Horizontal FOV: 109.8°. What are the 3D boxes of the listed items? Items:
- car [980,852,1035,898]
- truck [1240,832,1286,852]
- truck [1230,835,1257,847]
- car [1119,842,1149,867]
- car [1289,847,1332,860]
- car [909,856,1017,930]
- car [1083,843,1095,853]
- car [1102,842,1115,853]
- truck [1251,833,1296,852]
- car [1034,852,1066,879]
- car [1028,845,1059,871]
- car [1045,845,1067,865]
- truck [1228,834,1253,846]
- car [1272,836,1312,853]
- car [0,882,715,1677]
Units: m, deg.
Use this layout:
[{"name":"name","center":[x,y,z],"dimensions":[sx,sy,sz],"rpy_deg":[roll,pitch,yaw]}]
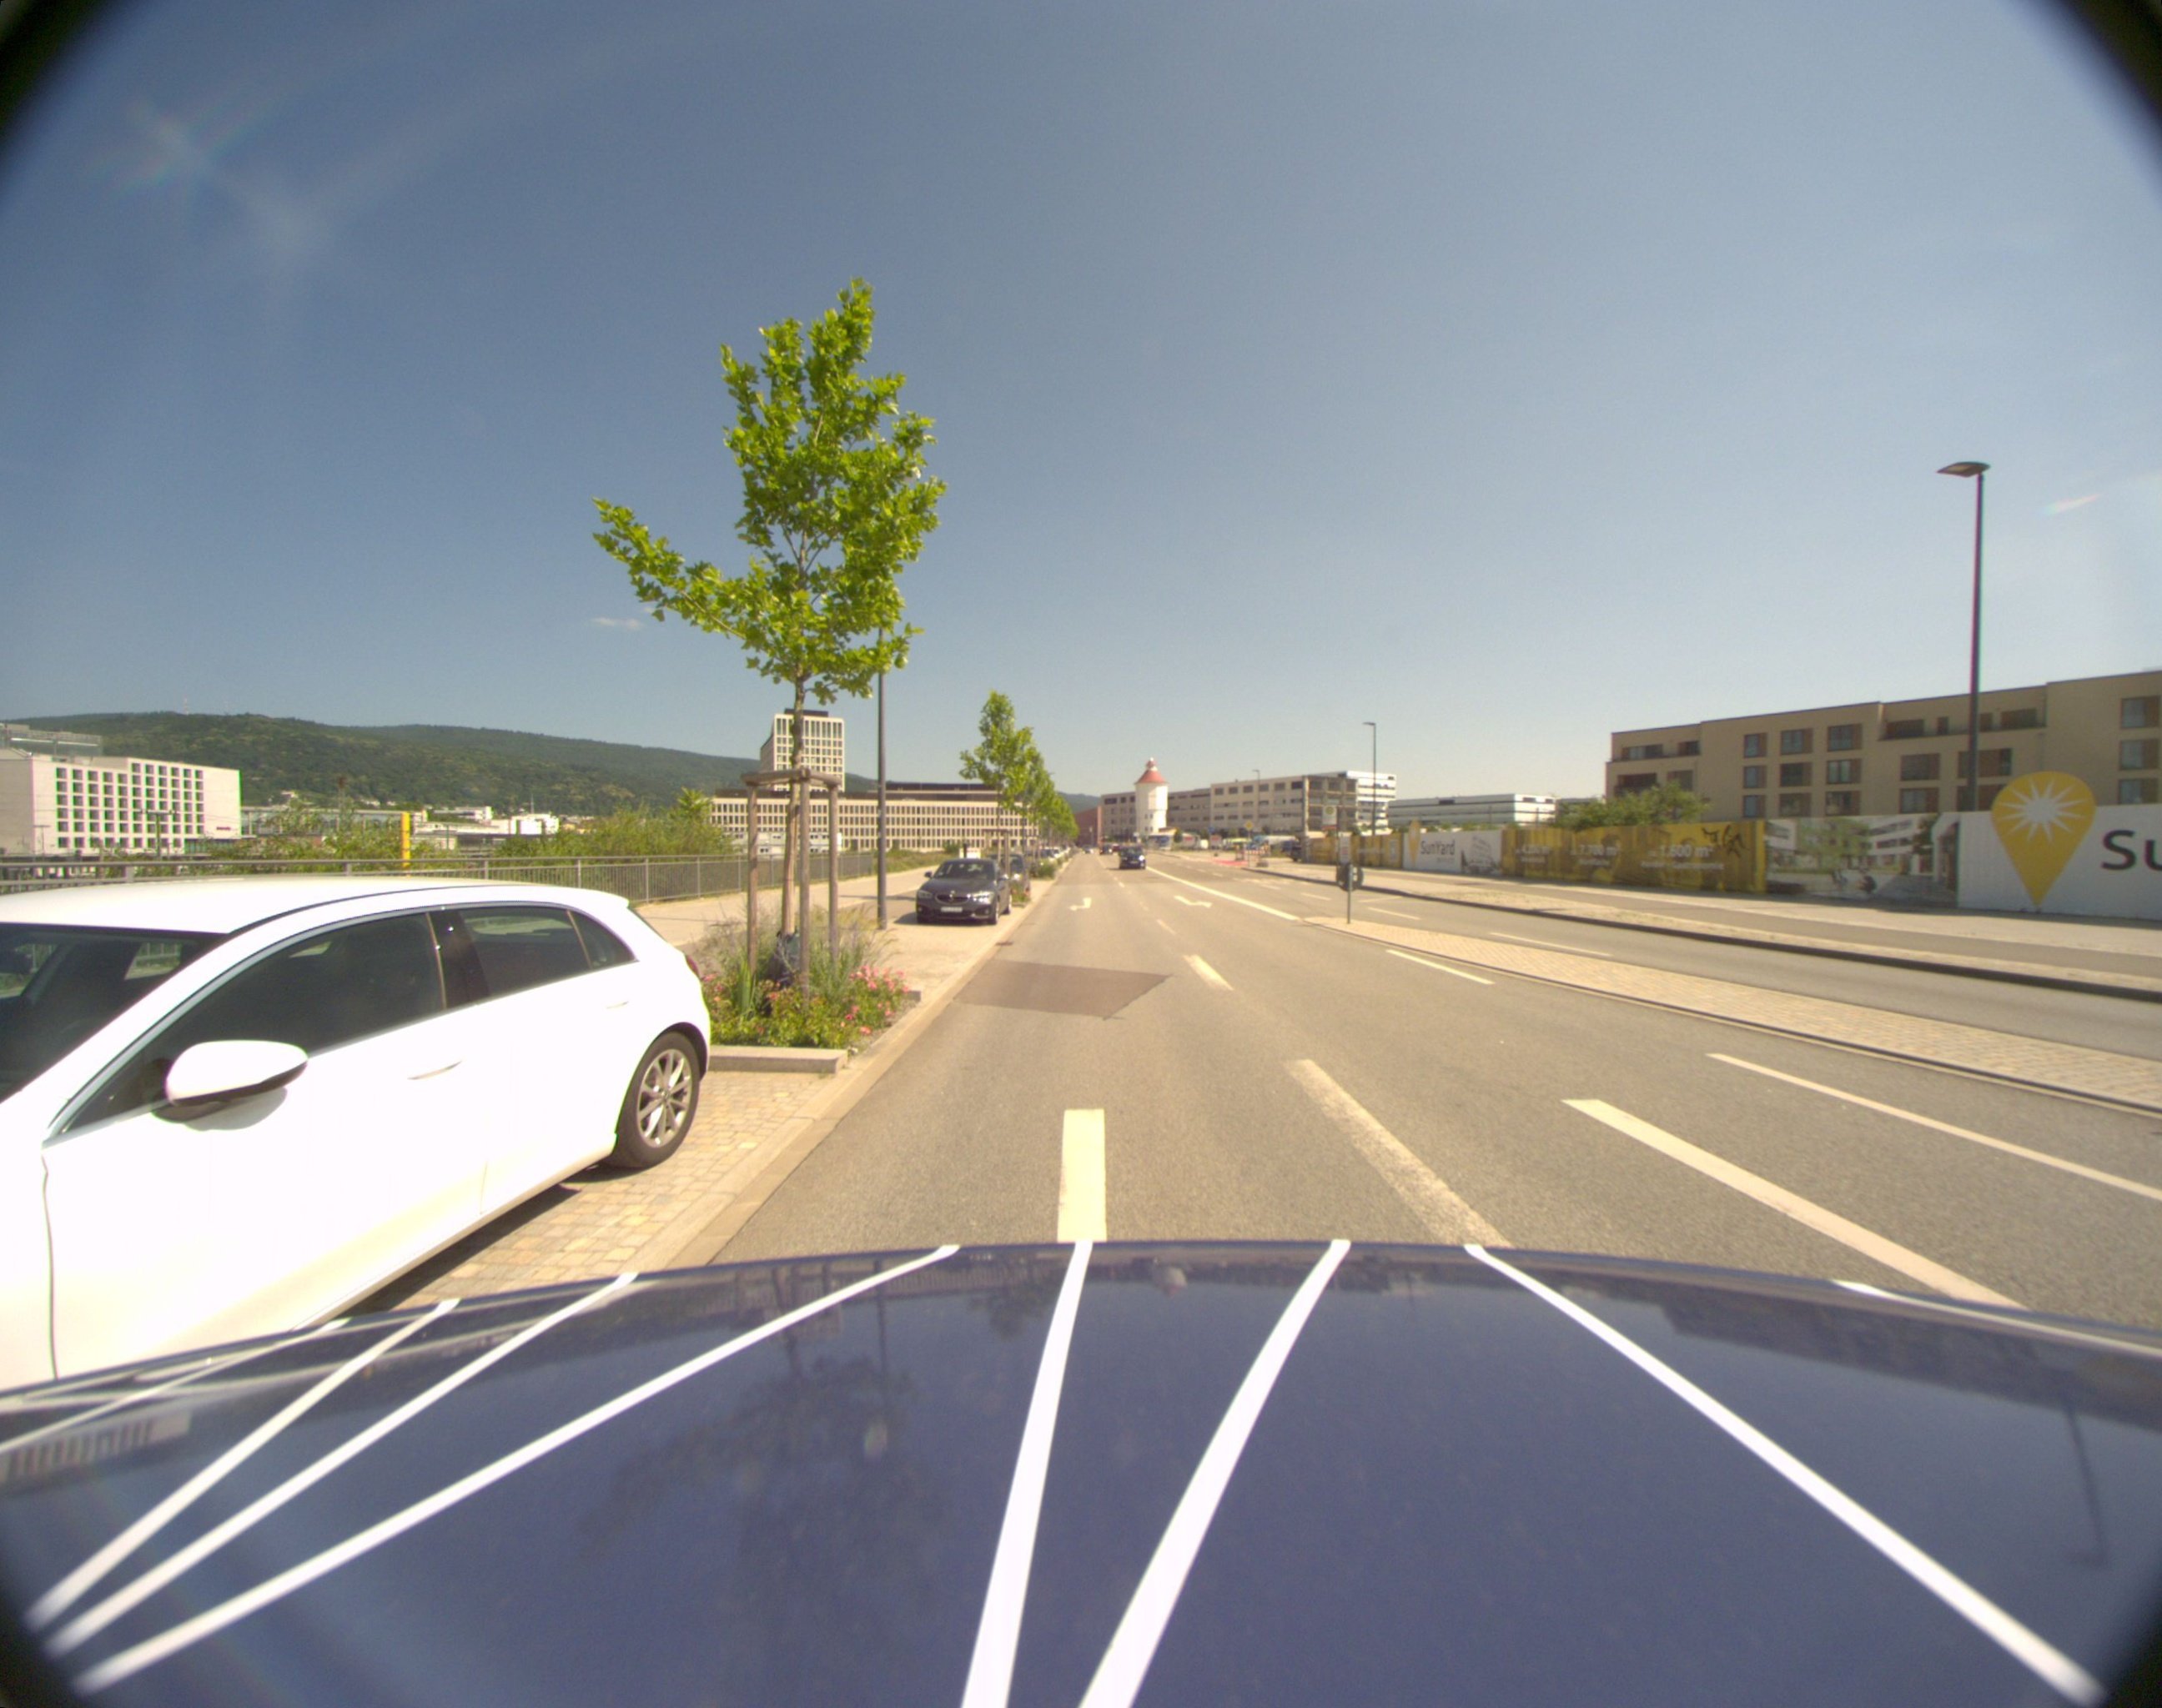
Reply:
[{"name":"car","center":[-2.588,0.717,27.314],"dimensions":[1.569,1.465,3.006],"rpy_deg":[2,1,1]},{"name":"truck","center":[24.516,-1.566,102.689],"dimensions":[5.633,2.461,1.999],"rpy_deg":[-2,1,-3]},{"name":"truck","center":[35.697,-2.861,166.704],"dimensions":[5.332,2.461,1.999],"rpy_deg":[-2,1,-3]},{"name":"car","center":[3.622,0.028,52.727],"dimensions":[1.808,1.613,3.916],"rpy_deg":[-2,1,1]},{"name":"car","center":[20.327,-0.046,67.331],"dimensions":[3.359,0.947,1.293],"rpy_deg":[-2,1,3]},{"name":"car","center":[-2.627,0.820,17.742],"dimensions":[1.808,1.424,3.916],"rpy_deg":[2,1,1]},{"name":"car","center":[1.328,-0.974,127.035],"dimensions":[1.819,1.458,4.347],"rpy_deg":[-3,0,2]},{"name":"car","center":[3.773,-0.954,104.648],"dimensions":[1.709,1.404,4.000],"rpy_deg":[-2,1,2]},{"name":"truck","center":[24.098,-1.411,95.266],"dimensions":[5.004,2.215,2.000],"rpy_deg":[-2,1,0]},{"name":"car","center":[-1.604,0.573,40.462],"dimensions":[1.490,1.302,3.155],"rpy_deg":[-2,1,1]},{"name":"car","center":[-2.458,0.237,50.135],"dimensions":[1.768,1.609,3.374],"rpy_deg":[-3,1,1]},{"name":"car","center":[-1.979,0.061,60.462],"dimensions":[1.525,1.482,3.505],"rpy_deg":[-2,1,1]},{"name":"truck","center":[36.656,-3.202,174.608],"dimensions":[5.412,2.461,1.999],"rpy_deg":[-2,1,-1]},{"name":"car","center":[23.831,-1.097,85.948],"dimensions":[3.930,1.708,1.891],"rpy_deg":[-2,1,-4]},{"name":"car","center":[-2.958,0.904,2.122],"dimensions":[1.710,1.366,4.270],"rpy_deg":[3,1,1]}]
